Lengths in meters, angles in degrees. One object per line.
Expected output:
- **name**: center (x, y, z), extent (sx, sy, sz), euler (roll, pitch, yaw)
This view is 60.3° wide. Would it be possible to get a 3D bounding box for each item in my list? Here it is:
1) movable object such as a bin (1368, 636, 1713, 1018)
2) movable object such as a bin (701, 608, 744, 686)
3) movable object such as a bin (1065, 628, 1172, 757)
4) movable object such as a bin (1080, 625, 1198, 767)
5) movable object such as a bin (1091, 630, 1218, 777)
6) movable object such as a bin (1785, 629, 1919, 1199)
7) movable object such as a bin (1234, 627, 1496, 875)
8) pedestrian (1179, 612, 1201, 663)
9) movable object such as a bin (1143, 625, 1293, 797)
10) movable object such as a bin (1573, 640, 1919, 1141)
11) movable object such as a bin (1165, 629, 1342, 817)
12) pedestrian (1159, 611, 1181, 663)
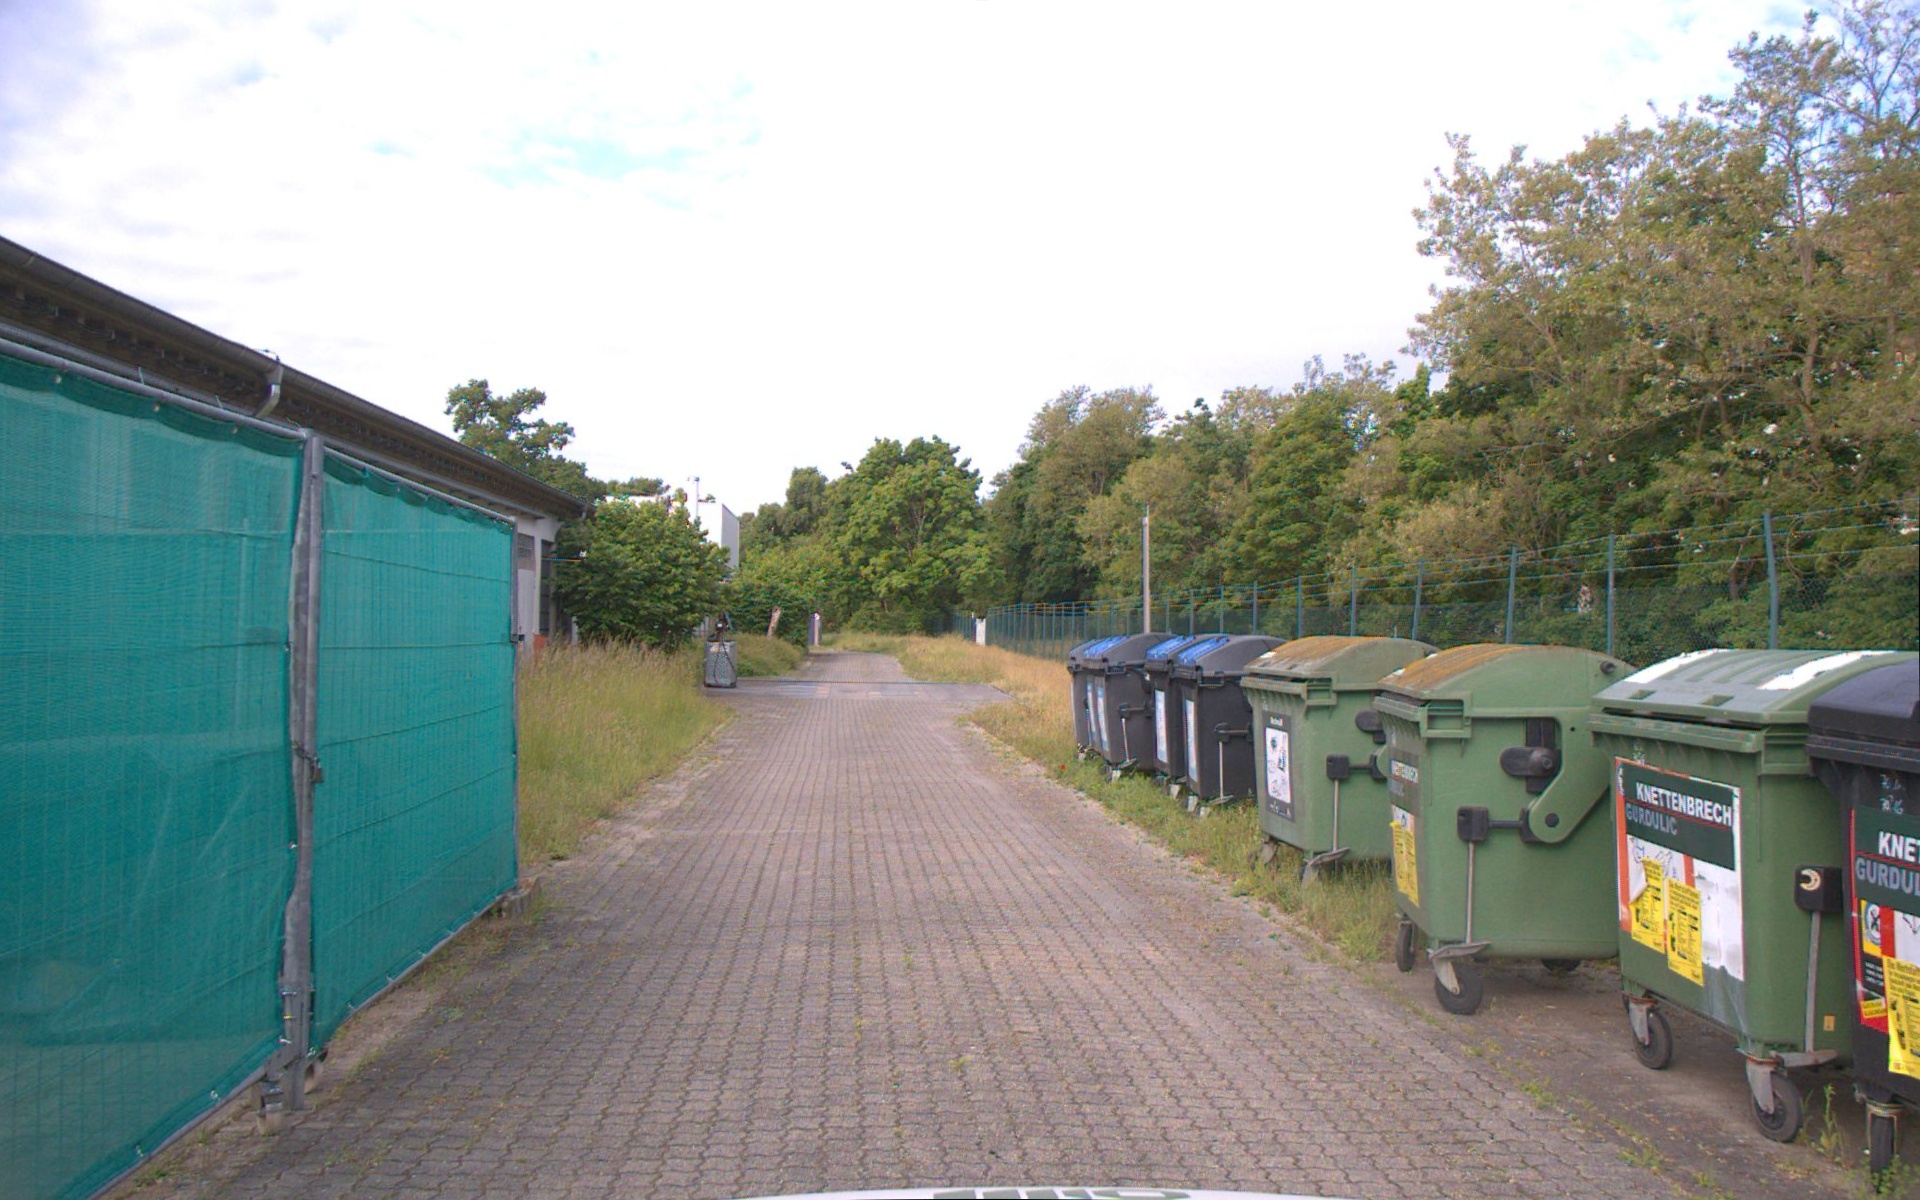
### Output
- **movable object such as a bin**: center (2.387, 0.879, 7.018), extent (1.099, 1.423, 1.386), euler (1, -2, 7)
- **movable object such as a bin**: center (-6.187, 1.217, 43.098), extent (0.915, 2.017, 0.854), euler (0, -1, 5)
- **movable object such as a bin**: center (1.759, 1.021, 18.594), extent (1.099, 1.374, 1.426), euler (1, -2, 2)
- **movable object such as a bin**: center (1.838, 0.976, 17.183), extent (1.099, 1.403, 1.325), euler (1, -2, 2)
- **movable object such as a bin**: center (1.843, 0.960, 15.880), extent (1.099, 1.345, 1.325), euler (0, -1, 2)
- **movable object such as a bin**: center (2.939, 0.812, 4.134), extent (1.047, 1.460, 1.398), euler (1, -2, -1)
- **movable object such as a bin**: center (2.306, 0.836, 9.613), extent (1.101, 1.319, 1.378), euler (1, -2, -5)
- **pedestrian**: center (9.154, 1.494, 65.863), extent (0.744, 2.049, 0.663), euler (0, -1, -5)
- **movable object such as a bin**: center (2.209, 0.937, 14.400), extent (1.099, 1.398, 1.494), euler (1, -2, 2)
- **movable object such as a bin**: center (2.811, 0.858, 5.459), extent (1.047, 1.430, 1.384), euler (1, -2, -1)
- **movable object such as a bin**: center (2.235, 0.918, 12.818), extent (1.130, 1.348, 1.494), euler (1, -2, 2)
- **pedestrian**: center (8.375, 1.460, 65.947), extent (0.744, 2.049, 0.663), euler (0, -1, -5)
